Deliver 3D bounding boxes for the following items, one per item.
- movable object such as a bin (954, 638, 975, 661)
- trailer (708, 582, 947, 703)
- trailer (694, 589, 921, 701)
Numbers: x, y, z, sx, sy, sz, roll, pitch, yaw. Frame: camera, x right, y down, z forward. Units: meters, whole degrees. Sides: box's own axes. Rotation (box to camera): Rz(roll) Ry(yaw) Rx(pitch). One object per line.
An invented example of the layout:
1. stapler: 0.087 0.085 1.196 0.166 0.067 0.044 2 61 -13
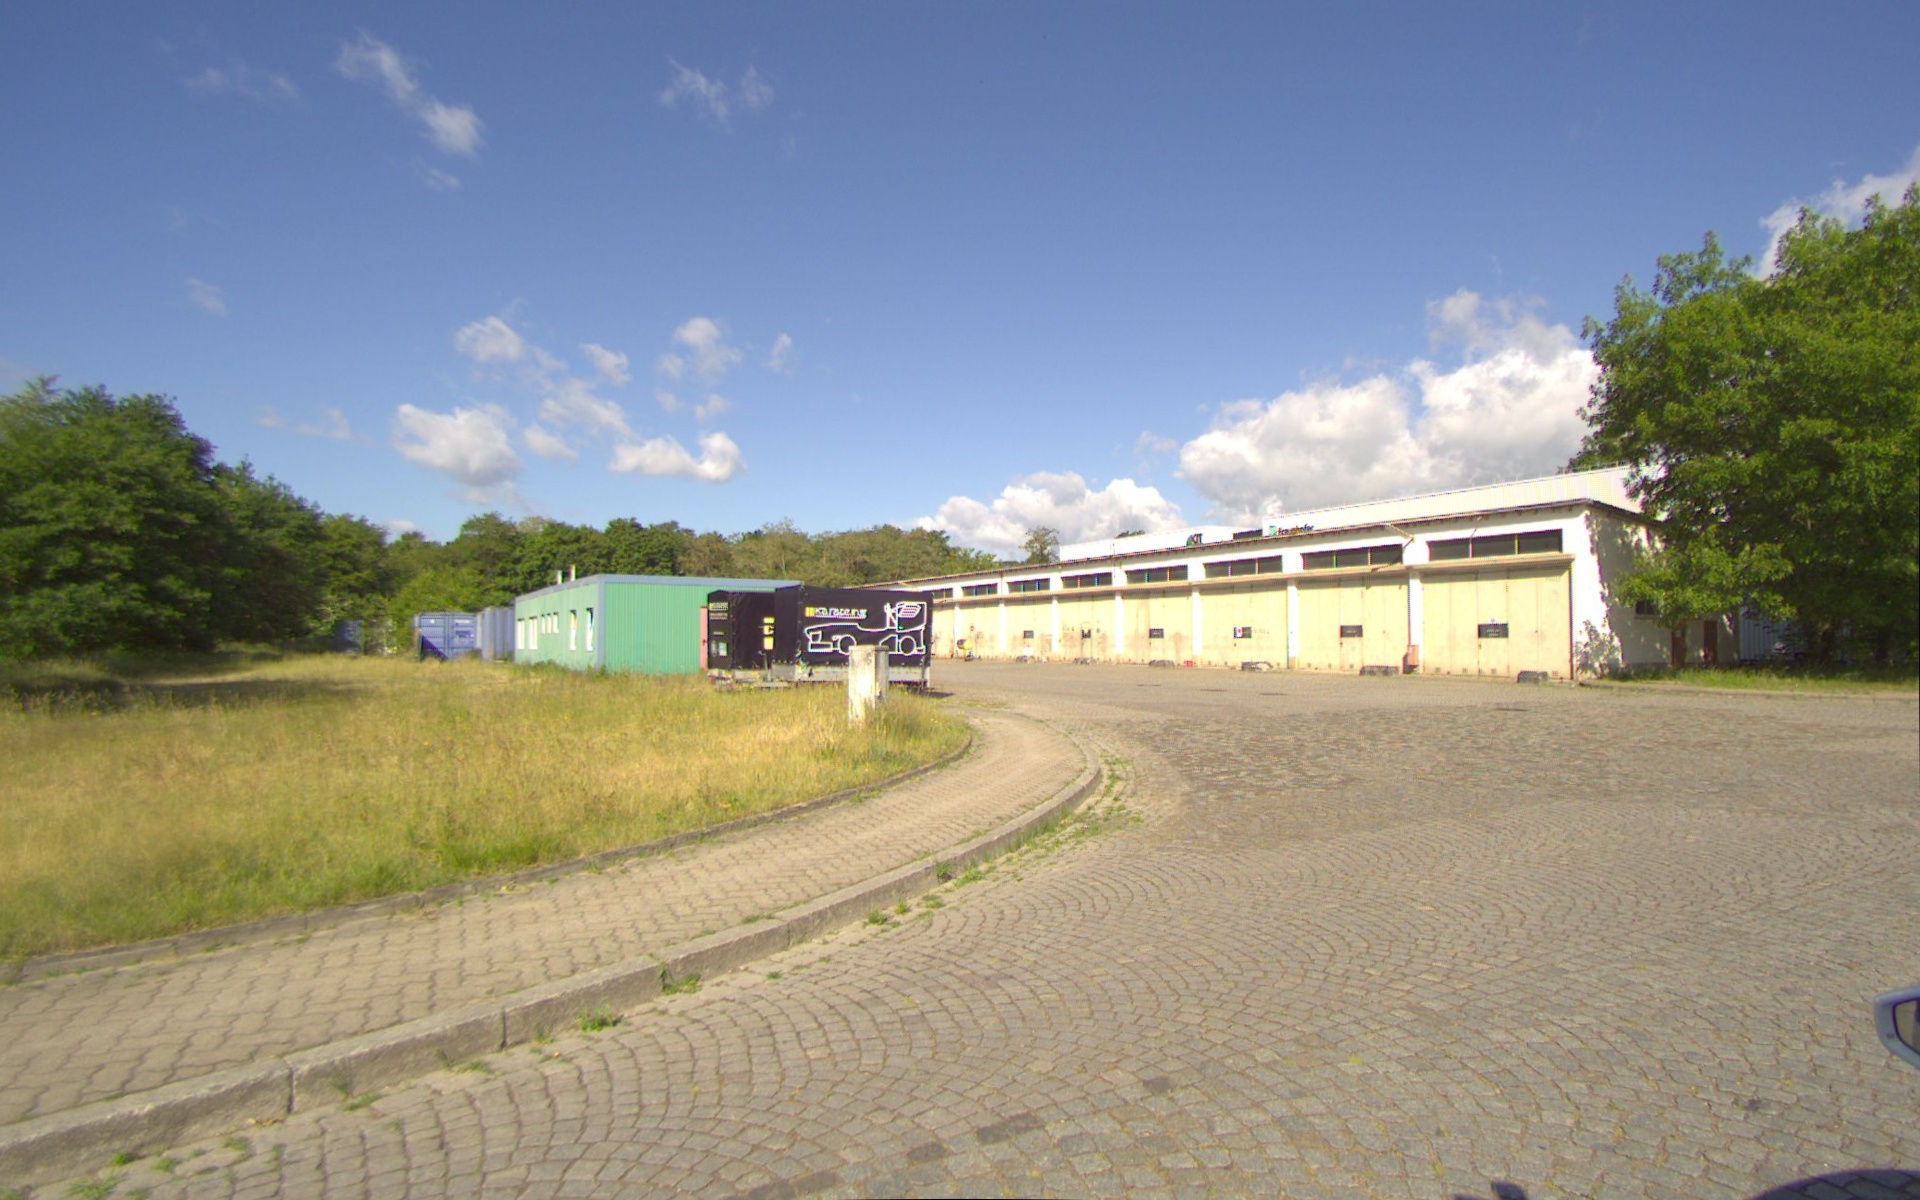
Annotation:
1. movable object such as a bin: 0.270 3.041 61.955 0.867 1.419 1.093 1 -2 -30
2. trailer: -2.791 0.907 21.375 4.612 2.328 2.122 1 -2 -28
3. trailer: -3.546 1.052 23.719 4.921 2.385 2.077 1 -3 -33
